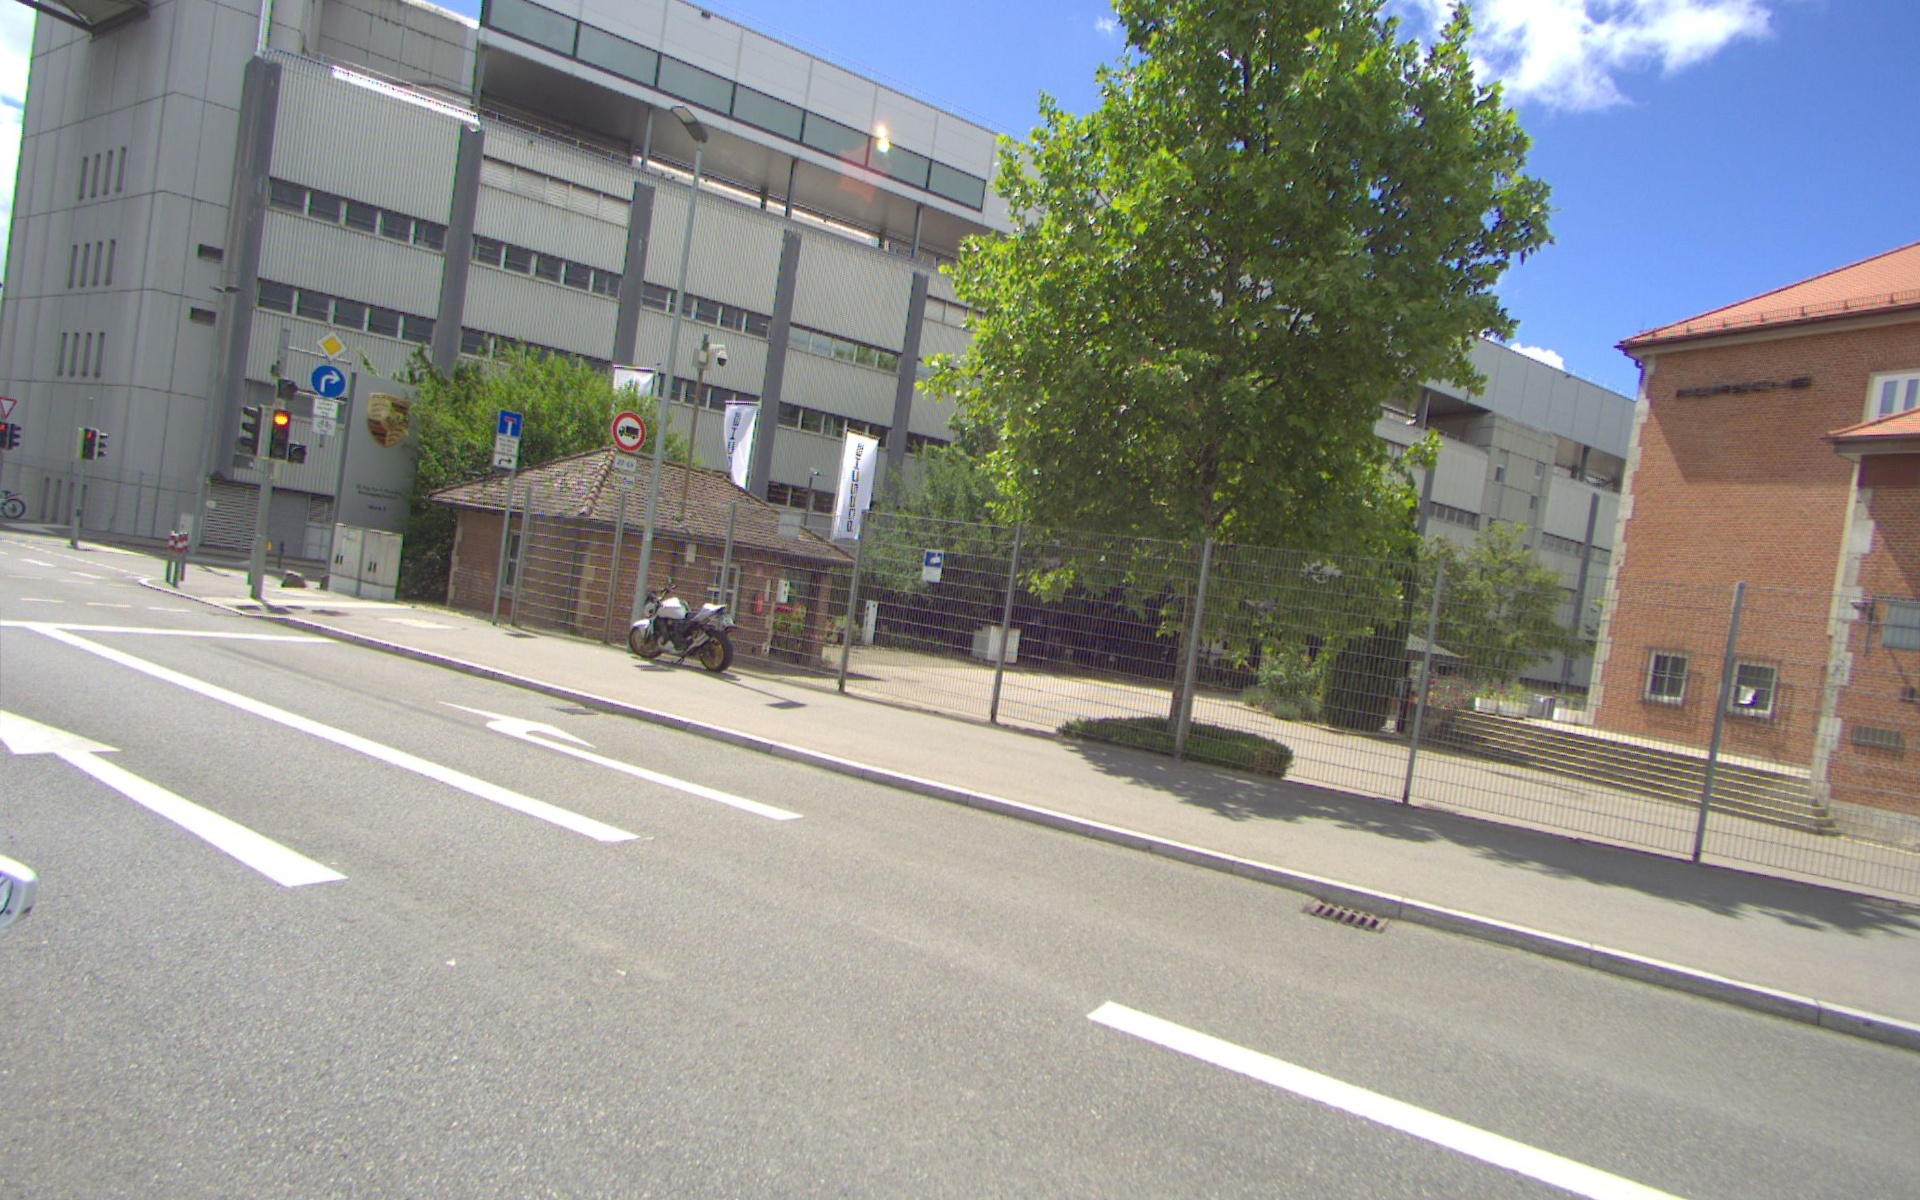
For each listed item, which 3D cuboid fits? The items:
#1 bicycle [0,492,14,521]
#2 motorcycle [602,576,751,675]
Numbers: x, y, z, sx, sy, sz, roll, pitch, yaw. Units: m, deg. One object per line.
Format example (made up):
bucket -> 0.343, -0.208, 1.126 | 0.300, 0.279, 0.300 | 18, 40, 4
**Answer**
bicycle -> -34.740, -3.433, 35.774 | 1.892, 0.948, 0.399 | 8, 0, 6
motorcycle -> -4.196, 0.364, 14.815 | 2.110, 1.173, 0.693 | 7, 2, 27
